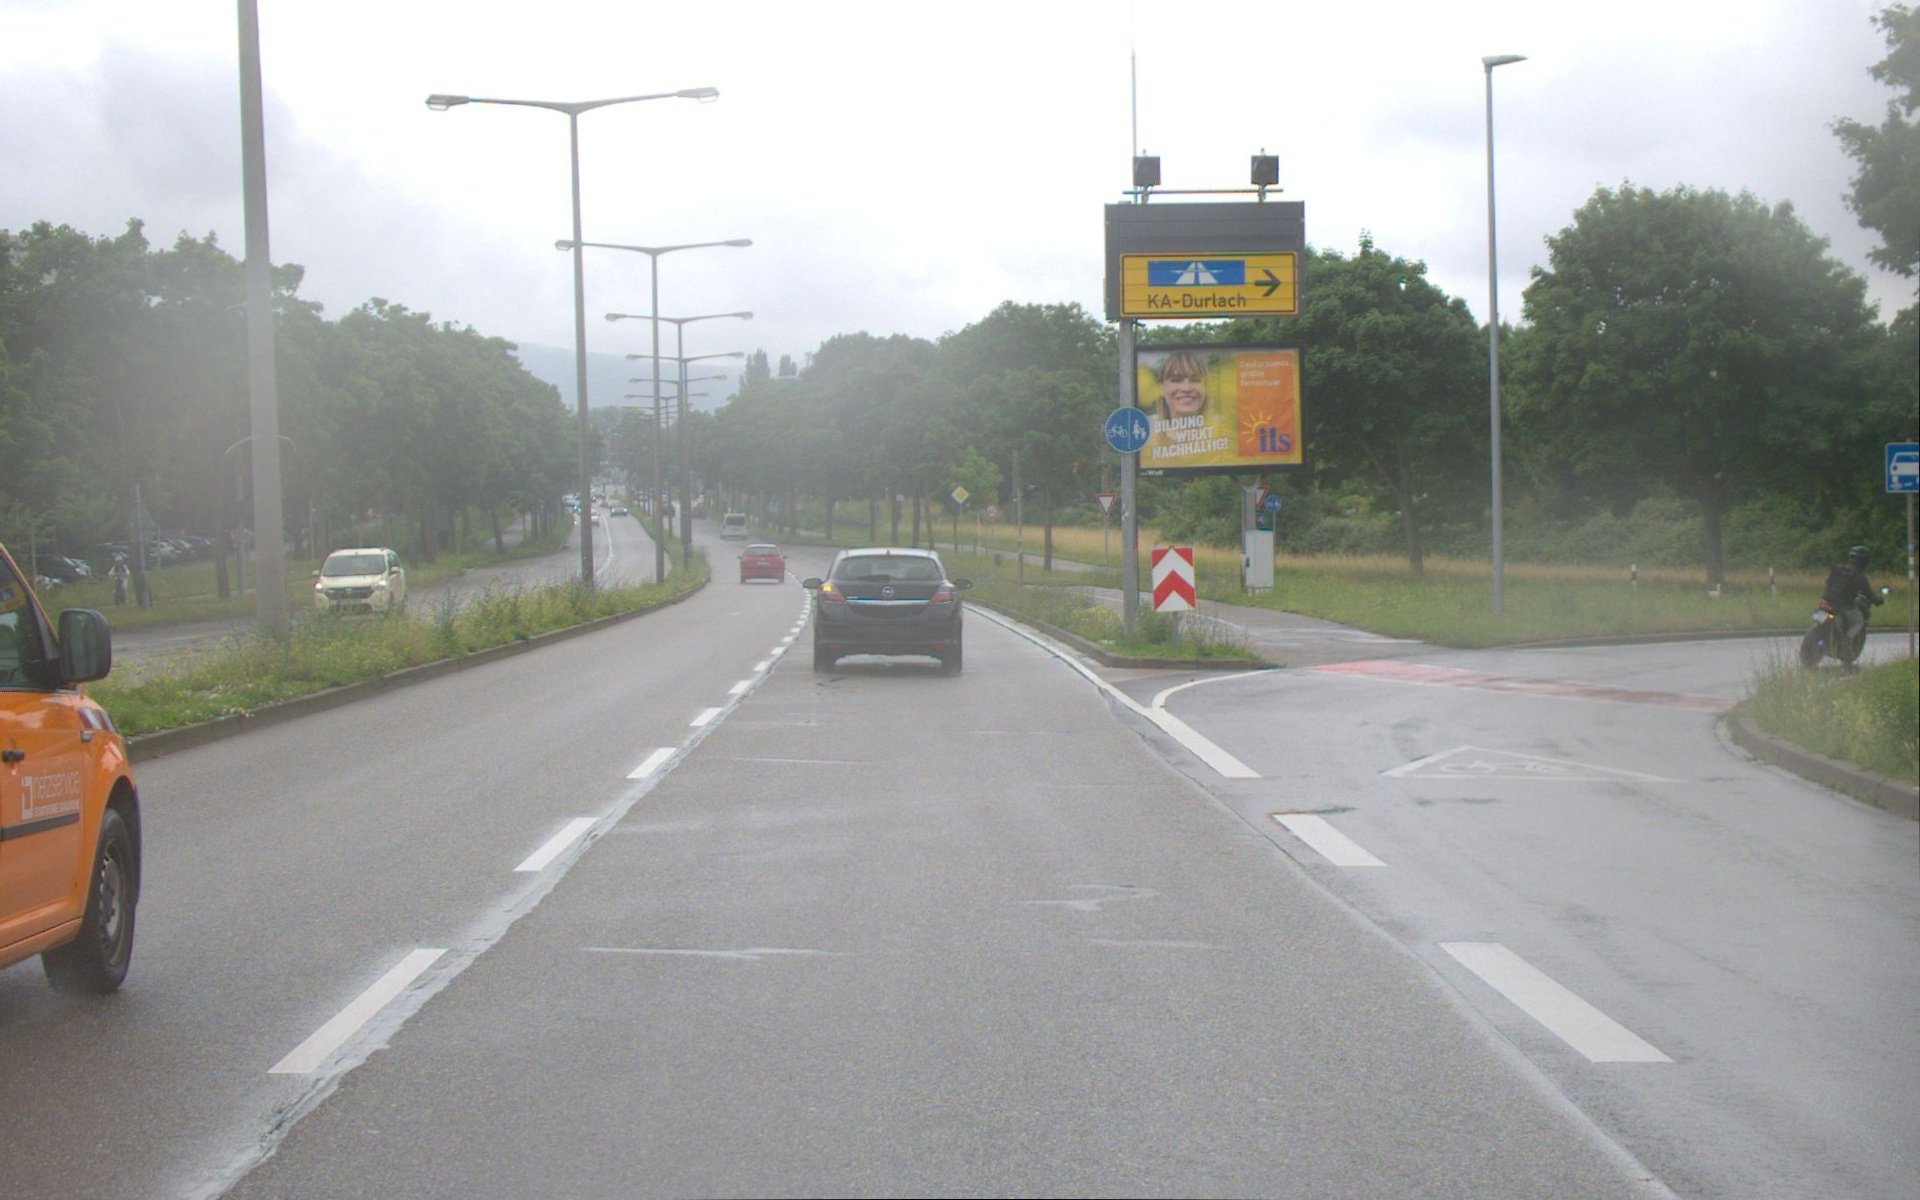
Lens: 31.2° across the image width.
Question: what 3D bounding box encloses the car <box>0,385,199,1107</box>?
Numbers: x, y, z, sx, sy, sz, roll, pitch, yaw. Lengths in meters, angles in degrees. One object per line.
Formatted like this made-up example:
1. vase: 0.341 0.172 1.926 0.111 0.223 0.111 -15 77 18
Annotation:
1. car: -3.537 0.394 9.751 1.734 2.012 4.849 1 1 -1

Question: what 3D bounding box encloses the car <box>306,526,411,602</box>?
1. car: -13.844 -0.861 79.358 1.707 1.624 4.493 -3 1 -2

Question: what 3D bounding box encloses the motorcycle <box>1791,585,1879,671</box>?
1. motorcycle: 11.879 0.368 46.669 0.602 1.089 1.729 1 2 34

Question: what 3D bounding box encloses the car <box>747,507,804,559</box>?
1. car: -6.816 -2.486 127.210 1.993 1.873 4.000 0 1 -2

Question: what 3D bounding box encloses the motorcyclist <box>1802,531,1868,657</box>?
1. motorcyclist: 11.868 -0.091 46.637 0.602 1.684 0.859 1 2 34

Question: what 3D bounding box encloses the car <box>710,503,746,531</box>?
1. car: -17.353 -6.184 256.768 2.515 2.045 5.294 -1 1 -5

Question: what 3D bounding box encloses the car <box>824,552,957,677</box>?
1. car: -0.831 0.134 39.877 1.463 1.324 3.758 0 2 -2
